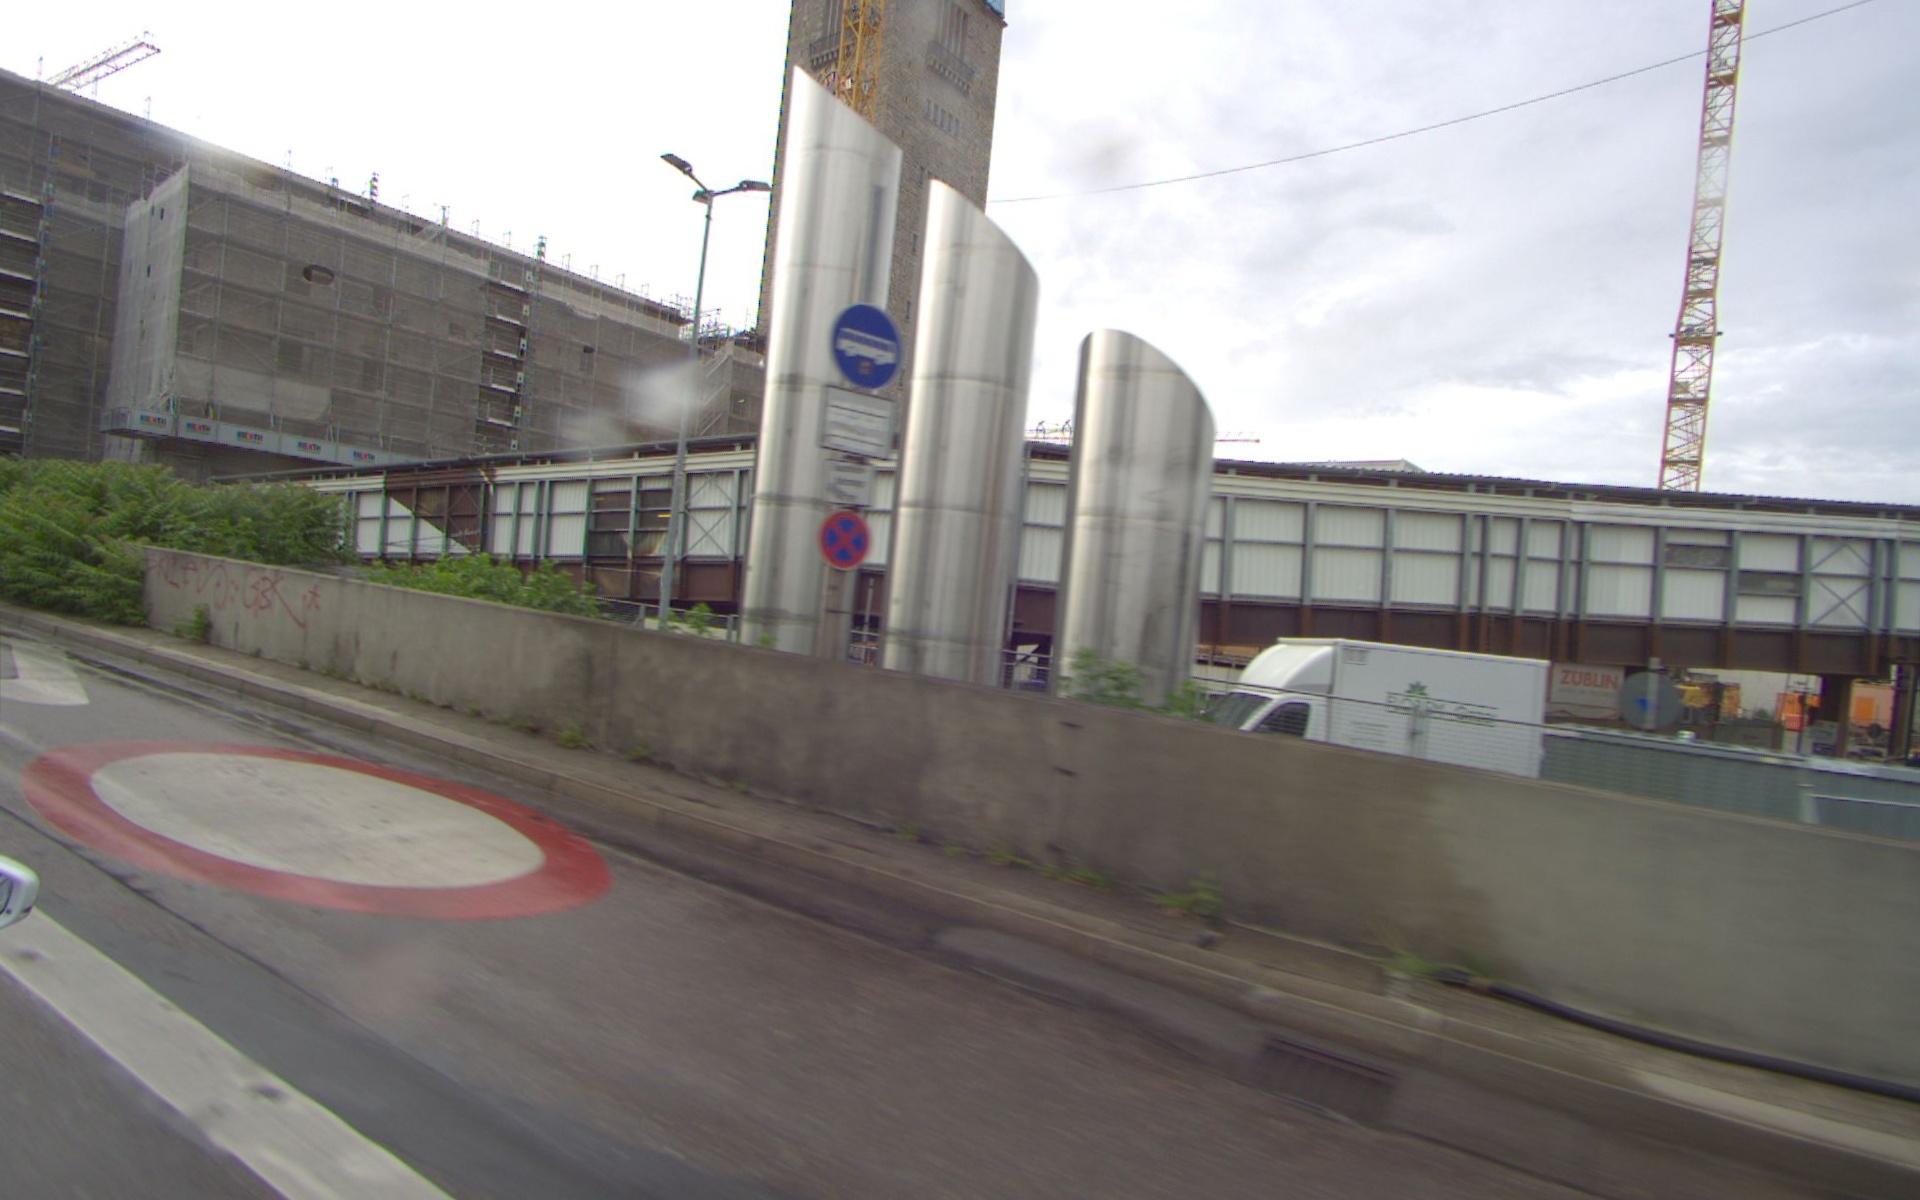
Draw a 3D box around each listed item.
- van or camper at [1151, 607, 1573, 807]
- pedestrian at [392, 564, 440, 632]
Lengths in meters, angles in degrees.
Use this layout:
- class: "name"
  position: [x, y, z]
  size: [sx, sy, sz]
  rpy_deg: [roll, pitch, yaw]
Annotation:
- class: "van or camper"
  position: [6.570, 1.726, 16.850]
  size: [5.960, 2.433, 2.381]
  rpy_deg: [7, 2, -9]
- class: "pedestrian"
  position: [-15.990, -0.055, 29.576]
  size: [0.998, 1.854, 0.672]
  rpy_deg: [7, 0, 32]
